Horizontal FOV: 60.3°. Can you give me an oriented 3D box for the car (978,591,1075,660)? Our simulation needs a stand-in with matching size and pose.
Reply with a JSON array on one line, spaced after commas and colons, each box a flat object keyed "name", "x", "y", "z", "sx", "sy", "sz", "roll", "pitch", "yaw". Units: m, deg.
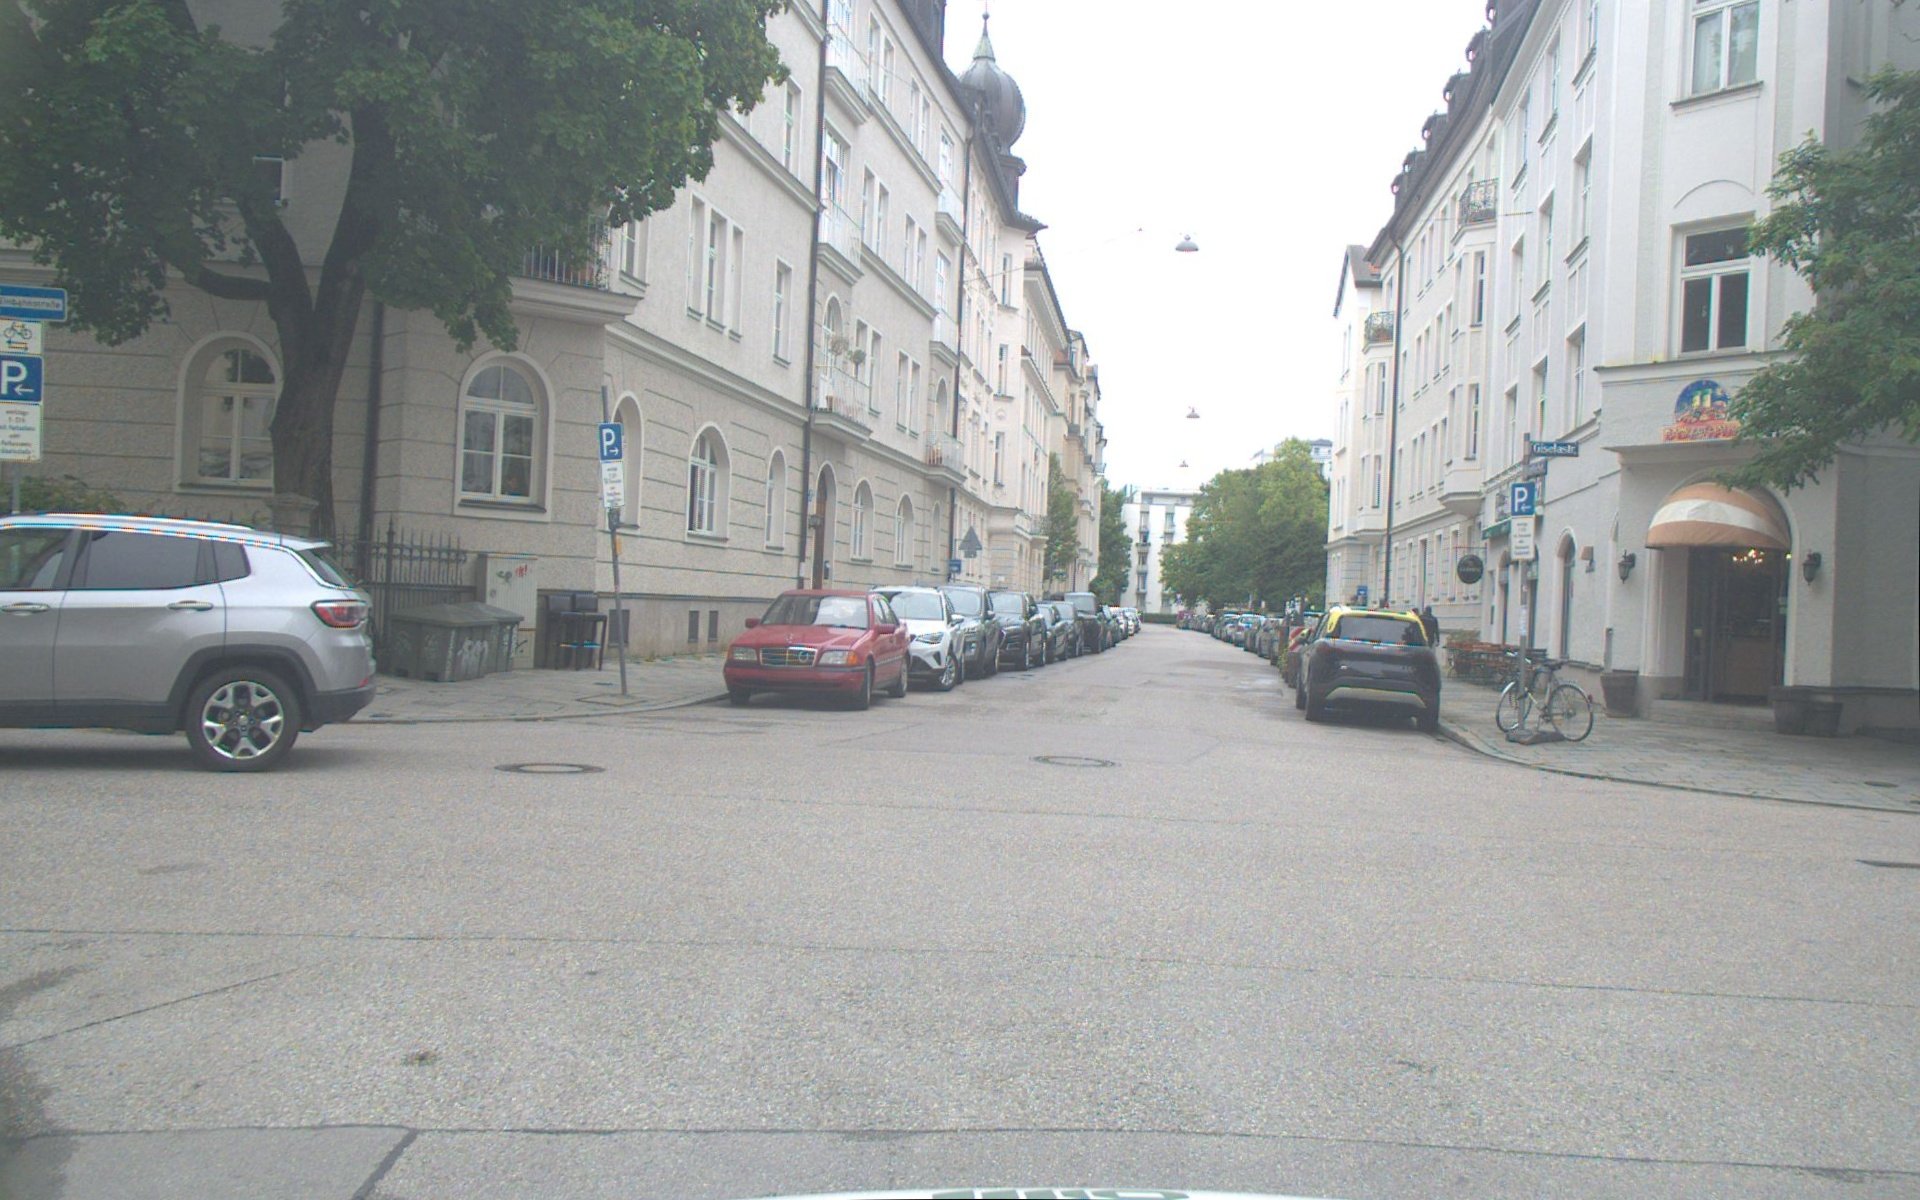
[{"name": "car", "x": 1.730, "y": 0.614, "z": 41.722, "sx": 1.885, "sy": 1.573, "sz": 4.003, "roll": 3, "pitch": 0, "yaw": 10}]

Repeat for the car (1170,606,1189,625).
[{"name": "car", "x": 24.884, "y": 1.715, "z": 187.608, "sx": 1.952, "sy": 2.016, "sz": 4.896, "roll": 3, "pitch": 0, "yaw": 5}]

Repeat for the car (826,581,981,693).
[{"name": "car", "x": -0.782, "y": 0.528, "z": 25.791, "sx": 1.952, "sy": 1.499, "sz": 4.220, "roll": 3, "pitch": 0, "yaw": 3}]

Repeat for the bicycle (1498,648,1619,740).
[{"name": "bicycle", "x": 7.425, "y": 1.146, "z": 20.589, "sx": 0.530, "sy": 1.016, "sz": 1.749, "roll": -1, "pitch": 1, "yaw": -14}]

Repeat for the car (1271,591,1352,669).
[{"name": "car", "x": 9.456, "y": 0.777, "z": 44.743, "sx": 1.951, "sy": 1.889, "sz": 4.348, "roll": 3, "pitch": 0, "yaw": 11}]

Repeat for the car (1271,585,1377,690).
[{"name": "car", "x": 7.561, "y": 0.747, "z": 34.688, "sx": 1.782, "sy": 1.903, "sz": 4.292, "roll": 5, "pitch": 0, "yaw": 9}]

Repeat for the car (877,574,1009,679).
[{"name": "car", "x": -0.237, "y": 0.460, "z": 30.356, "sx": 1.951, "sy": 1.705, "sz": 4.015, "roll": 3, "pitch": 0, "yaw": 5}]

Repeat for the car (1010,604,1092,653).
[{"name": "car", "x": 2.656, "y": 0.783, "z": 47.516, "sx": 1.866, "sy": 1.243, "sz": 4.003, "roll": 3, "pitch": 0, "yaw": 9}]

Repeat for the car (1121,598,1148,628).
[{"name": "car", "x": 12.704, "y": 0.957, "z": 120.026, "sx": 1.807, "sy": 2.049, "sz": 4.003, "roll": 3, "pitch": 0, "yaw": 7}]

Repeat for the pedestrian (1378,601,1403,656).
[{"name": "pedestrian", "x": 15.180, "y": 0.992, "z": 58.352, "sx": 0.762, "sy": 1.883, "sz": 0.860, "roll": 2, "pitch": 0, "yaw": 16}]

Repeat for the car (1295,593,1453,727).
[{"name": "car", "x": 6.035, "y": 0.817, "z": 24.551, "sx": 1.782, "sy": 1.664, "sz": 4.292, "roll": 5, "pitch": 0, "yaw": 9}]

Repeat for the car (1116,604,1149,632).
[{"name": "car", "x": 10.669, "y": 1.122, "z": 102.274, "sx": 1.951, "sy": 1.601, "sz": 4.003, "roll": 3, "pitch": 0, "yaw": 6}]

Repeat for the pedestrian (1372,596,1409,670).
[{"name": "pedestrian", "x": 11.342, "y": 0.853, "z": 43.594, "sx": 0.761, "sy": 1.883, "sz": 1.024, "roll": 2, "pitch": 0, "yaw": 10}]

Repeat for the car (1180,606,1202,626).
[{"name": "car", "x": 24.693, "y": 1.719, "z": 176.838, "sx": 1.952, "sy": 2.016, "sz": 4.896, "roll": 3, "pitch": 0, "yaw": 5}]

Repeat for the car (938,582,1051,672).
[{"name": "car", "x": 0.801, "y": 0.541, "z": 35.359, "sx": 1.951, "sy": 1.705, "sz": 4.292, "roll": 3, "pitch": 0, "yaw": 7}]

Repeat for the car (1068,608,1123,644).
[{"name": "car", "x": 5.272, "y": 0.968, "z": 63.850, "sx": 1.866, "sy": 1.243, "sz": 4.003, "roll": 3, "pitch": 0, "yaw": 8}]

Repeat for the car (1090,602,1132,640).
[{"name": "car", "x": 6.912, "y": 0.914, "z": 75.323, "sx": 1.782, "sy": 1.601, "sz": 4.003, "roll": 3, "pitch": 0, "yaw": 6}]

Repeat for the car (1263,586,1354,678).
[{"name": "car", "x": 8.381, "y": 0.735, "z": 40.028, "sx": 1.782, "sy": 1.956, "sz": 4.187, "roll": 5, "pitch": 0, "yaw": 9}]

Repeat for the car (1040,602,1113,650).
[{"name": "car", "x": 3.710, "y": 0.789, "z": 52.175, "sx": 1.866, "sy": 1.352, "sz": 4.003, "roll": 3, "pitch": 0, "yaw": 9}]

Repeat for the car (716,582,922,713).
[{"name": "car", "x": -1.658, "y": 0.537, "z": 20.866, "sx": 1.694, "sy": 1.402, "sz": 4.230, "roll": 3, "pitch": 0, "yaw": 7}]

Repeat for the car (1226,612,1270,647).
[{"name": "car", "x": 14.283, "y": 1.432, "z": 82.120, "sx": 1.866, "sy": 1.603, "sz": 4.003, "roll": 3, "pitch": 0, "yaw": 6}]

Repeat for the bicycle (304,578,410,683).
[{"name": "bicycle", "x": -6.805, "y": 0.315, "z": 18.735, "sx": 0.483, "sy": 1.070, "sz": 1.827, "roll": 3, "pitch": 2, "yaw": 0}]

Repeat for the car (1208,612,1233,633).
[{"name": "car", "x": 21.688, "y": 1.856, "z": 137.804, "sx": 1.908, "sy": 1.681, "sz": 4.003, "roll": 1, "pitch": 0, "yaw": 6}]

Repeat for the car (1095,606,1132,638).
[{"name": "car", "x": 7.566, "y": 1.045, "z": 81.253, "sx": 1.697, "sy": 1.444, "sz": 4.003, "roll": 3, "pitch": 0, "yaw": 6}]

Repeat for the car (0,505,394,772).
[{"name": "car", "x": -6.075, "y": 0.222, "z": 11.084, "sx": 4.233, "sy": 1.635, "sz": 1.952, "roll": 2, "pitch": 0, "yaw": -21}]

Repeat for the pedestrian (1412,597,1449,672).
[{"name": "pedestrian", "x": 12.181, "y": 0.870, "z": 42.843, "sx": 0.761, "sy": 1.883, "sz": 1.024, "roll": 2, "pitch": 0, "yaw": 10}]

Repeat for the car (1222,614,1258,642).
[{"name": "car", "x": 15.671, "y": 1.566, "z": 92.768, "sx": 1.693, "sy": 1.442, "sz": 3.855, "roll": 3, "pitch": 0, "yaw": 6}]
